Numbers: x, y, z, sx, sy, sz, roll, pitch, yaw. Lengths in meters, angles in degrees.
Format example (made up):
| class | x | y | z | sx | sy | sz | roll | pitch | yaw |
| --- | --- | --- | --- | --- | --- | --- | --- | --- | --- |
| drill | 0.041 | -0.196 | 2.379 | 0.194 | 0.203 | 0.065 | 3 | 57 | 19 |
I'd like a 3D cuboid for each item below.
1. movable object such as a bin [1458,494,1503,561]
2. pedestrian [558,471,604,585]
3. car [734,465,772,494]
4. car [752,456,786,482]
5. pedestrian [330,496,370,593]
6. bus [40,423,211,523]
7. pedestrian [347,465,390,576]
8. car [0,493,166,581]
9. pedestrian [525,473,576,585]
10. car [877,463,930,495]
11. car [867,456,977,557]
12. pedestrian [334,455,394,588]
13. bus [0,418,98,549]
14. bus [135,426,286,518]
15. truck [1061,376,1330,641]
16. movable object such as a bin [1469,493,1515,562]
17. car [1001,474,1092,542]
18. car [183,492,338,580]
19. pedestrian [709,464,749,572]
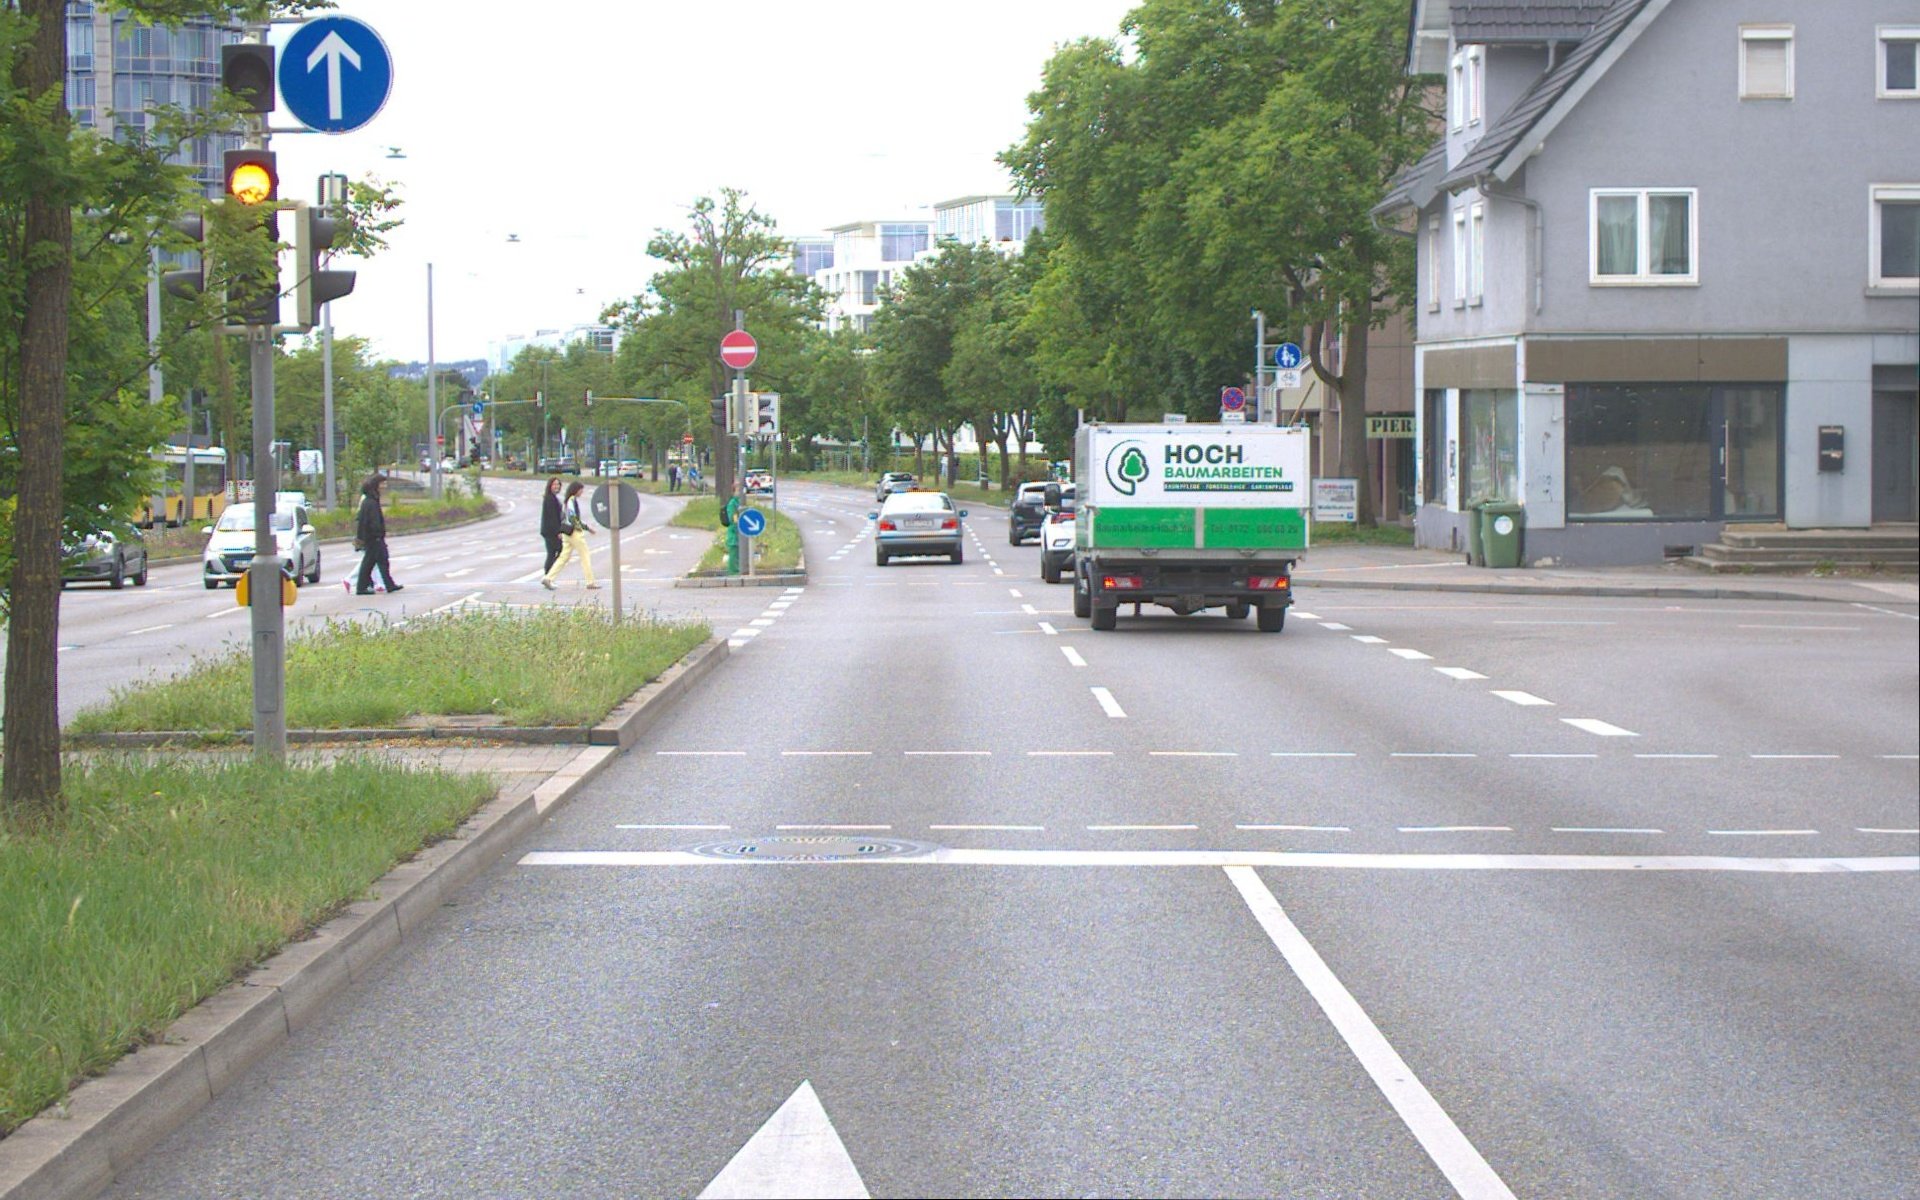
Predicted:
| class | x | y | z | sx | sy | sz | roll | pitch | yaw |
| --- | --- | --- | --- | --- | --- | --- | --- | --- | --- |
| movable object such as a bin | 8.184 | -1.143 | 54.096 | 0.616 | 1.039 | 0.589 | 1 | 2 | 2 |
| pedestrian | -5.770 | -1.095 | 52.318 | 0.653 | 1.710 | 0.452 | -1 | 2 | -7 |
| car | -11.187 | -6.508 | 185.892 | 1.993 | 1.513 | 4.001 | -1 | 2 | -4 |
| car | -11.550 | -7.924 | 208.175 | 1.993 | 1.513 | 4.001 | -1 | 2 | -4 |
| pedestrian | -9.400 | -0.861 | 52.995 | 0.543 | 1.490 | 0.487 | -1 | 2 | -7 |
| bus | -29.975 | -4.548 | 123.975 | 2.832 | 3.418 | 10.733 | -1 | 2 | 4 |
| pedestrian | -9.236 | -1.243 | 53.671 | 0.612 | 1.710 | 0.546 | -1 | 2 | -7 |
| car | -15.530 | -1.151 | 61.086 | 1.993 | 1.481 | 4.001 | -1 | 2 | -1 |
| pedestrian | -6.324 | -1.093 | 53.102 | 0.745 | 1.710 | 0.583 | -1 | 2 | -7 |
| car | -2.758 | -5.846 | 166.195 | 1.993 | 1.546 | 4.001 | -1 | 2 | -9 |
| car | -0.721 | -1.797 | 65.555 | 1.993 | 1.824 | 4.001 | 1 | 2 | 0 |
| pedestrian | -9.034 | -1.193 | 52.109 | 0.830 | 2.006 | 0.546 | -1 | 2 | -7 |
| bus | -26.270 | -3.106 | 92.320 | 2.832 | 3.418 | 10.733 | -1 | 2 | 4 |
| bus | -29.261 | -4.999 | 134.702 | 2.832 | 3.418 | 10.733 | -1 | 2 | 4 |
| truck | 2.433 | -1.086 | 37.445 | 2.471 | 2.602 | 6.549 | 1 | 3 | 0 |
| movable object such as a bin | 8.255 | -1.131 | 53.343 | 0.604 | 1.056 | 0.589 | 1 | 2 | 2 |
| car | 2.014 | -2.194 | 81.180 | 1.993 | 1.546 | 4.001 | 1 | 2 | 0 |
| car | -12.309 | -1.160 | 60.706 | 1.993 | 1.481 | 4.001 | -1 | 2 | -1 |
| pedestrian | -3.693 | -1.315 | 55.012 | 0.583 | 1.710 | 0.546 | -1 | 2 | -7 |
